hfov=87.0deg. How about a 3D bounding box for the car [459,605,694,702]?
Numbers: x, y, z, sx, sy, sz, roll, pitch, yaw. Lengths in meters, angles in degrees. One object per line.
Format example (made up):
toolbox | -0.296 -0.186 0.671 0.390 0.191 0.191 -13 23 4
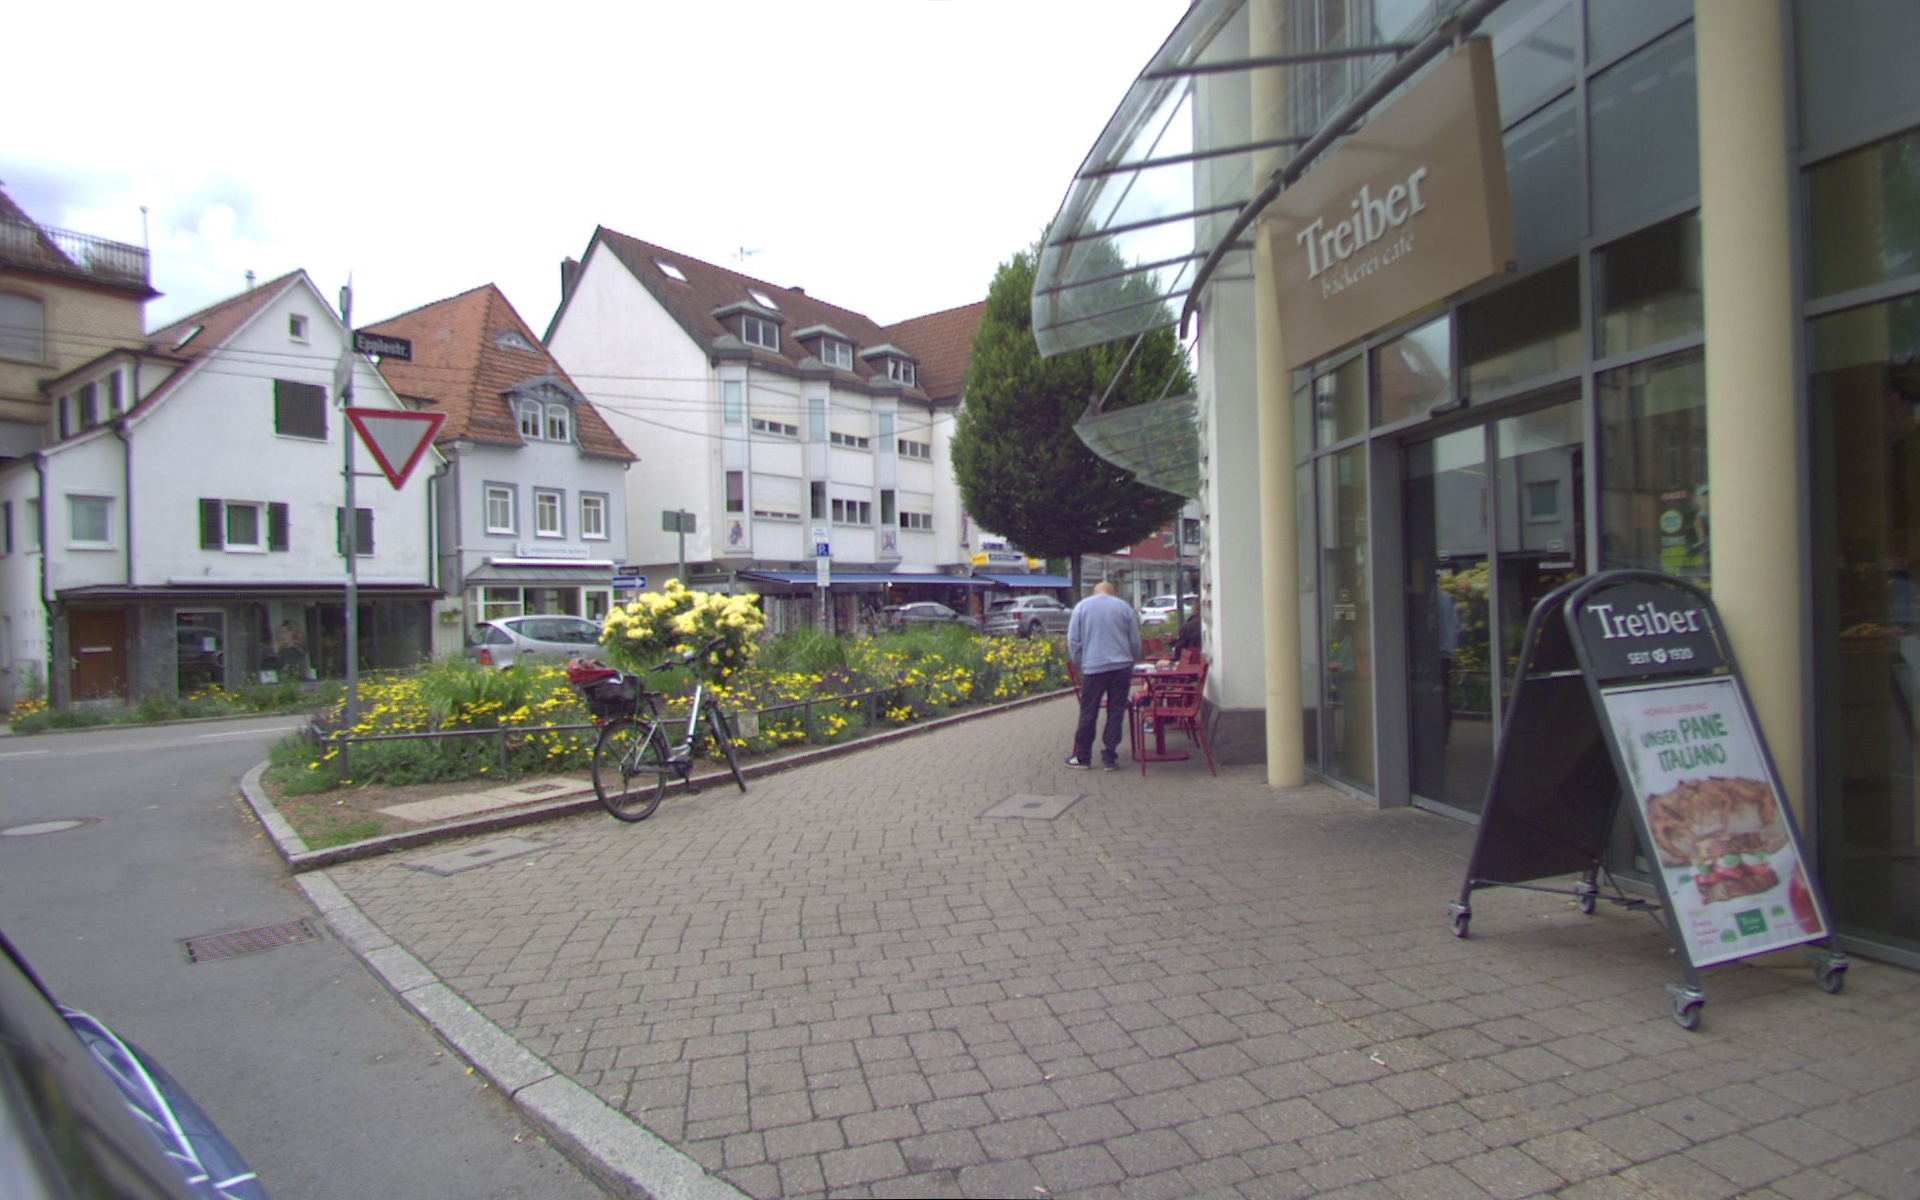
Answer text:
car | -7.533 1.016 19.985 3.934 1.640 1.900 -2 -2 -36

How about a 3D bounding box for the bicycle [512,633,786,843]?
bicycle | -2.210 0.925 7.498 0.740 1.249 1.962 -3 -1 27

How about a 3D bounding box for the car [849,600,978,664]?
car | -1.435 1.002 32.732 1.998 1.868 3.948 -4 -2 39

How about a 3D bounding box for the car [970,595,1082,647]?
car | 2.507 0.762 37.490 1.997 1.745 4.371 -4 -2 37

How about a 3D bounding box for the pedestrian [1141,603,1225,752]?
pedestrian | 2.146 0.725 9.697 0.689 1.352 0.654 -3 -1 15

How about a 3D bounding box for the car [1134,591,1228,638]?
car | 8.131 0.513 37.070 1.846 1.445 3.952 -5 -1 36

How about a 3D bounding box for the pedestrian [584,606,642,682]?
pedestrian | -9.666 1.219 28.229 1.104 2.029 1.002 -4 -1 36

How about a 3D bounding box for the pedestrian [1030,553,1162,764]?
pedestrian | 1.069 0.450 7.858 0.859 1.537 0.699 -3 -1 15

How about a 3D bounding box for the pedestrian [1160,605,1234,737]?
pedestrian | 2.522 0.736 10.746 0.678 1.342 0.699 -3 -1 15

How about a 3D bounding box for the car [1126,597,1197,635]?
car | 9.337 0.722 46.711 1.574 1.634 3.950 -4 -2 37
